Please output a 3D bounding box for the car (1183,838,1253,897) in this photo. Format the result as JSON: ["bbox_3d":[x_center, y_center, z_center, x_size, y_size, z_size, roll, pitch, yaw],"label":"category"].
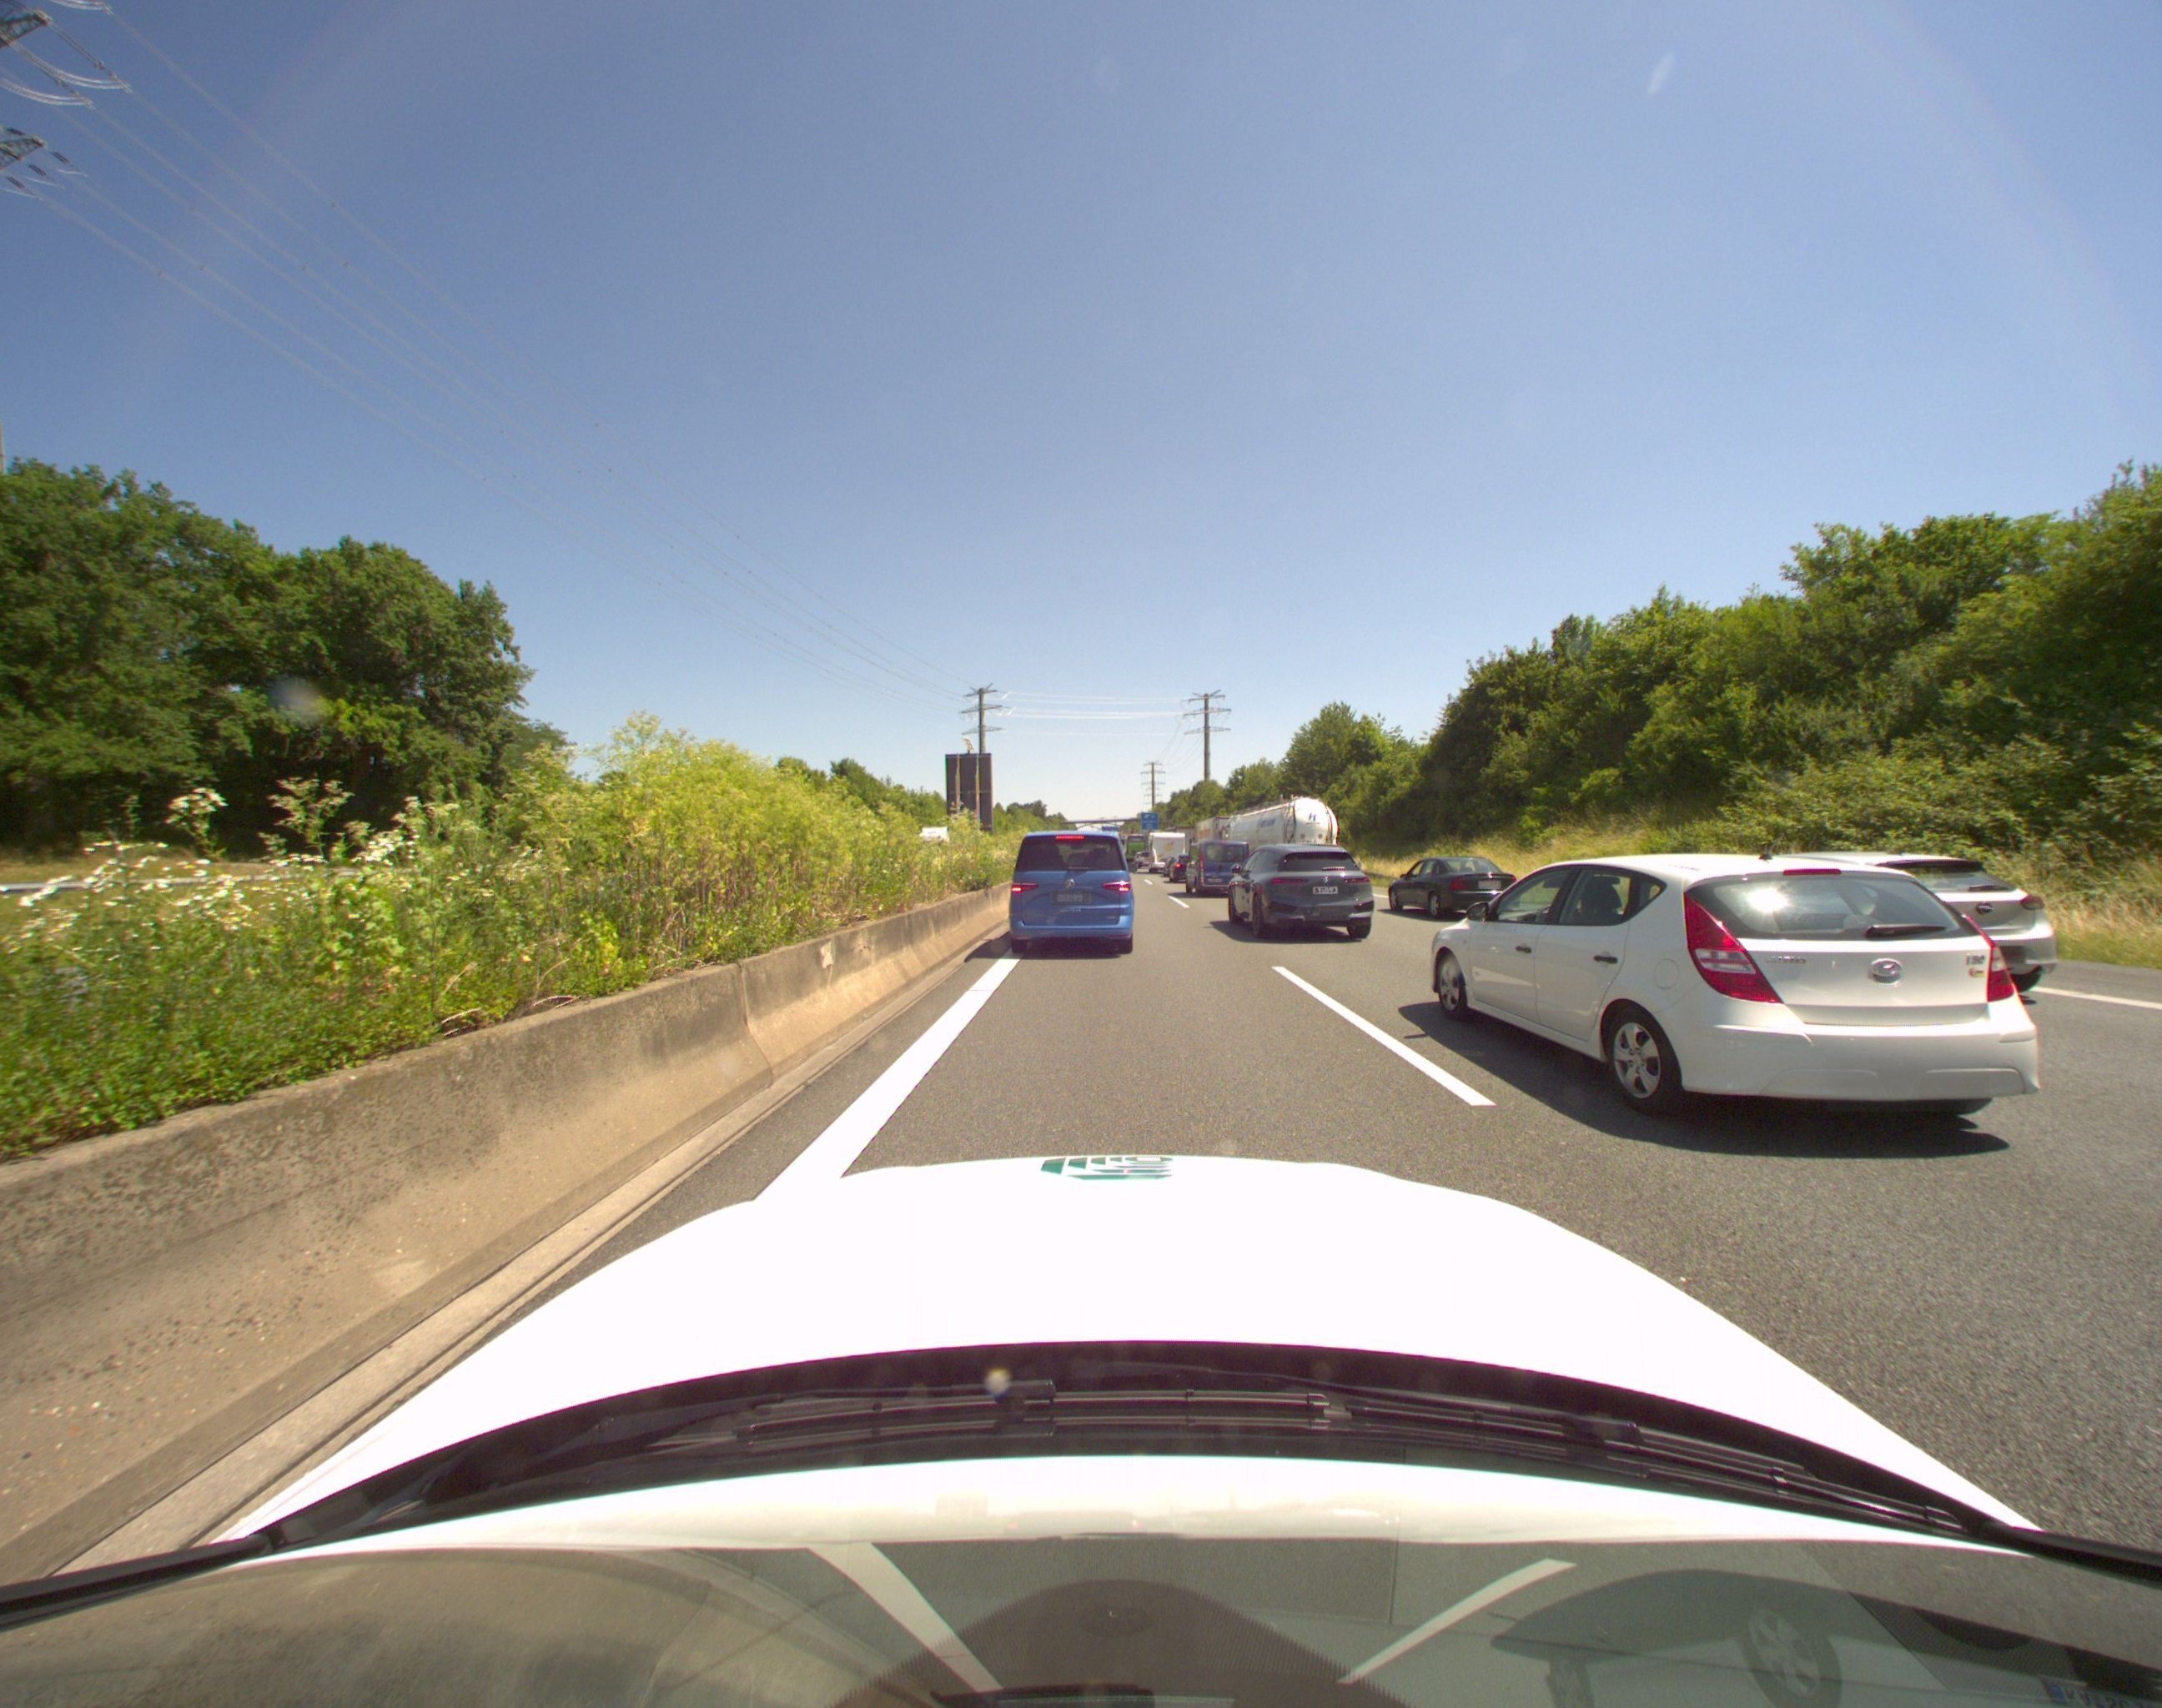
[{"bbox_3d":[4.909,0.498,29.785,1.916,1.925,4.237,-2,-1,2],"label":"car"}]

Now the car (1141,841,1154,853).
[{"bbox_3d":[11.694,-1.156,142.729,1.986,2.014,4.001,-1,-1,2],"label":"car"}]

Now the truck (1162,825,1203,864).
[{"bbox_3d":[10.556,-0.872,86.160,2.994,3.766,15.721,-1,0,2],"label":"truck"}]

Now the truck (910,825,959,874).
[{"bbox_3d":[-13.202,-0.353,74.008,3.000,4.228,6.689,-1,-1,2],"label":"truck"}]

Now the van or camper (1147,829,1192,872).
[{"bbox_3d":[6.608,-0.197,61.606,2.945,3.022,7.108,-1,-1,3],"label":"van or camper"}]

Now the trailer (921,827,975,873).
[{"bbox_3d":[-12.955,-0.316,80.484,3.000,4.228,10.987,-1,-1,2],"label":"trailer"}]

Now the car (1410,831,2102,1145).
[{"bbox_3d":[4.069,0.679,5.951,1.810,1.485,4.002,-1,-1,2],"label":"car"}]

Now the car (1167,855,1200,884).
[{"bbox_3d":[5.351,0.792,42.993,1.355,1.420,3.886,-2,-1,2],"label":"car"}]

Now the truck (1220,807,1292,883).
[{"bbox_3d":[9.502,-0.462,44.715,2.783,3.836,5.573,-1,0,1],"label":"truck"}]

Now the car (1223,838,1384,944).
[{"bbox_3d":[4.079,0.651,15.777,1.992,1.715,4.627,-1,-1,2],"label":"car"}]

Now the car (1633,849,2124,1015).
[{"bbox_3d":[8.522,0.689,9.324,1.724,1.443,4.029,-1,0,1],"label":"car"}]

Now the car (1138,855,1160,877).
[{"bbox_3d":[6.358,1.149,76.585,1.829,1.998,4.003,-2,-1,3],"label":"car"}]

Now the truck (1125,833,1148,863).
[{"bbox_3d":[7.495,-0.748,110.678,2.884,3.766,10.145,-1,-1,2],"label":"truck"}]

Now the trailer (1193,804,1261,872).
[{"bbox_3d":[10.501,-1.061,59.956,2.902,4.469,12.156,-1,0,1],"label":"trailer"}]

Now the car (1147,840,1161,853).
[{"bbox_3d":[11.900,-1.242,132.409,1.986,2.014,4.001,-1,-1,2],"label":"car"}]

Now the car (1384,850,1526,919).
[{"bbox_3d":[8.709,0.674,19.354,1.635,1.416,3.990,-2,-1,2],"label":"car"}]

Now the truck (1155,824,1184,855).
[{"bbox_3d":[11.617,-1.781,108.318,2.884,3.766,13.352,-1,0,2],"label":"truck"}]

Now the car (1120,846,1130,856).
[{"bbox_3d":[9.745,-0.621,179.985,1.986,2.126,4.000,-1,-1,1],"label":"car"}]

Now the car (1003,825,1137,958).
[{"bbox_3d":[-0.102,0.535,13.651,1.913,1.886,4.001,0,0,1],"label":"car"}]

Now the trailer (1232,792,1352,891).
[{"bbox_3d":[9.372,-0.481,37.847,2.751,3.845,11.488,-1,0,1],"label":"trailer"}]
